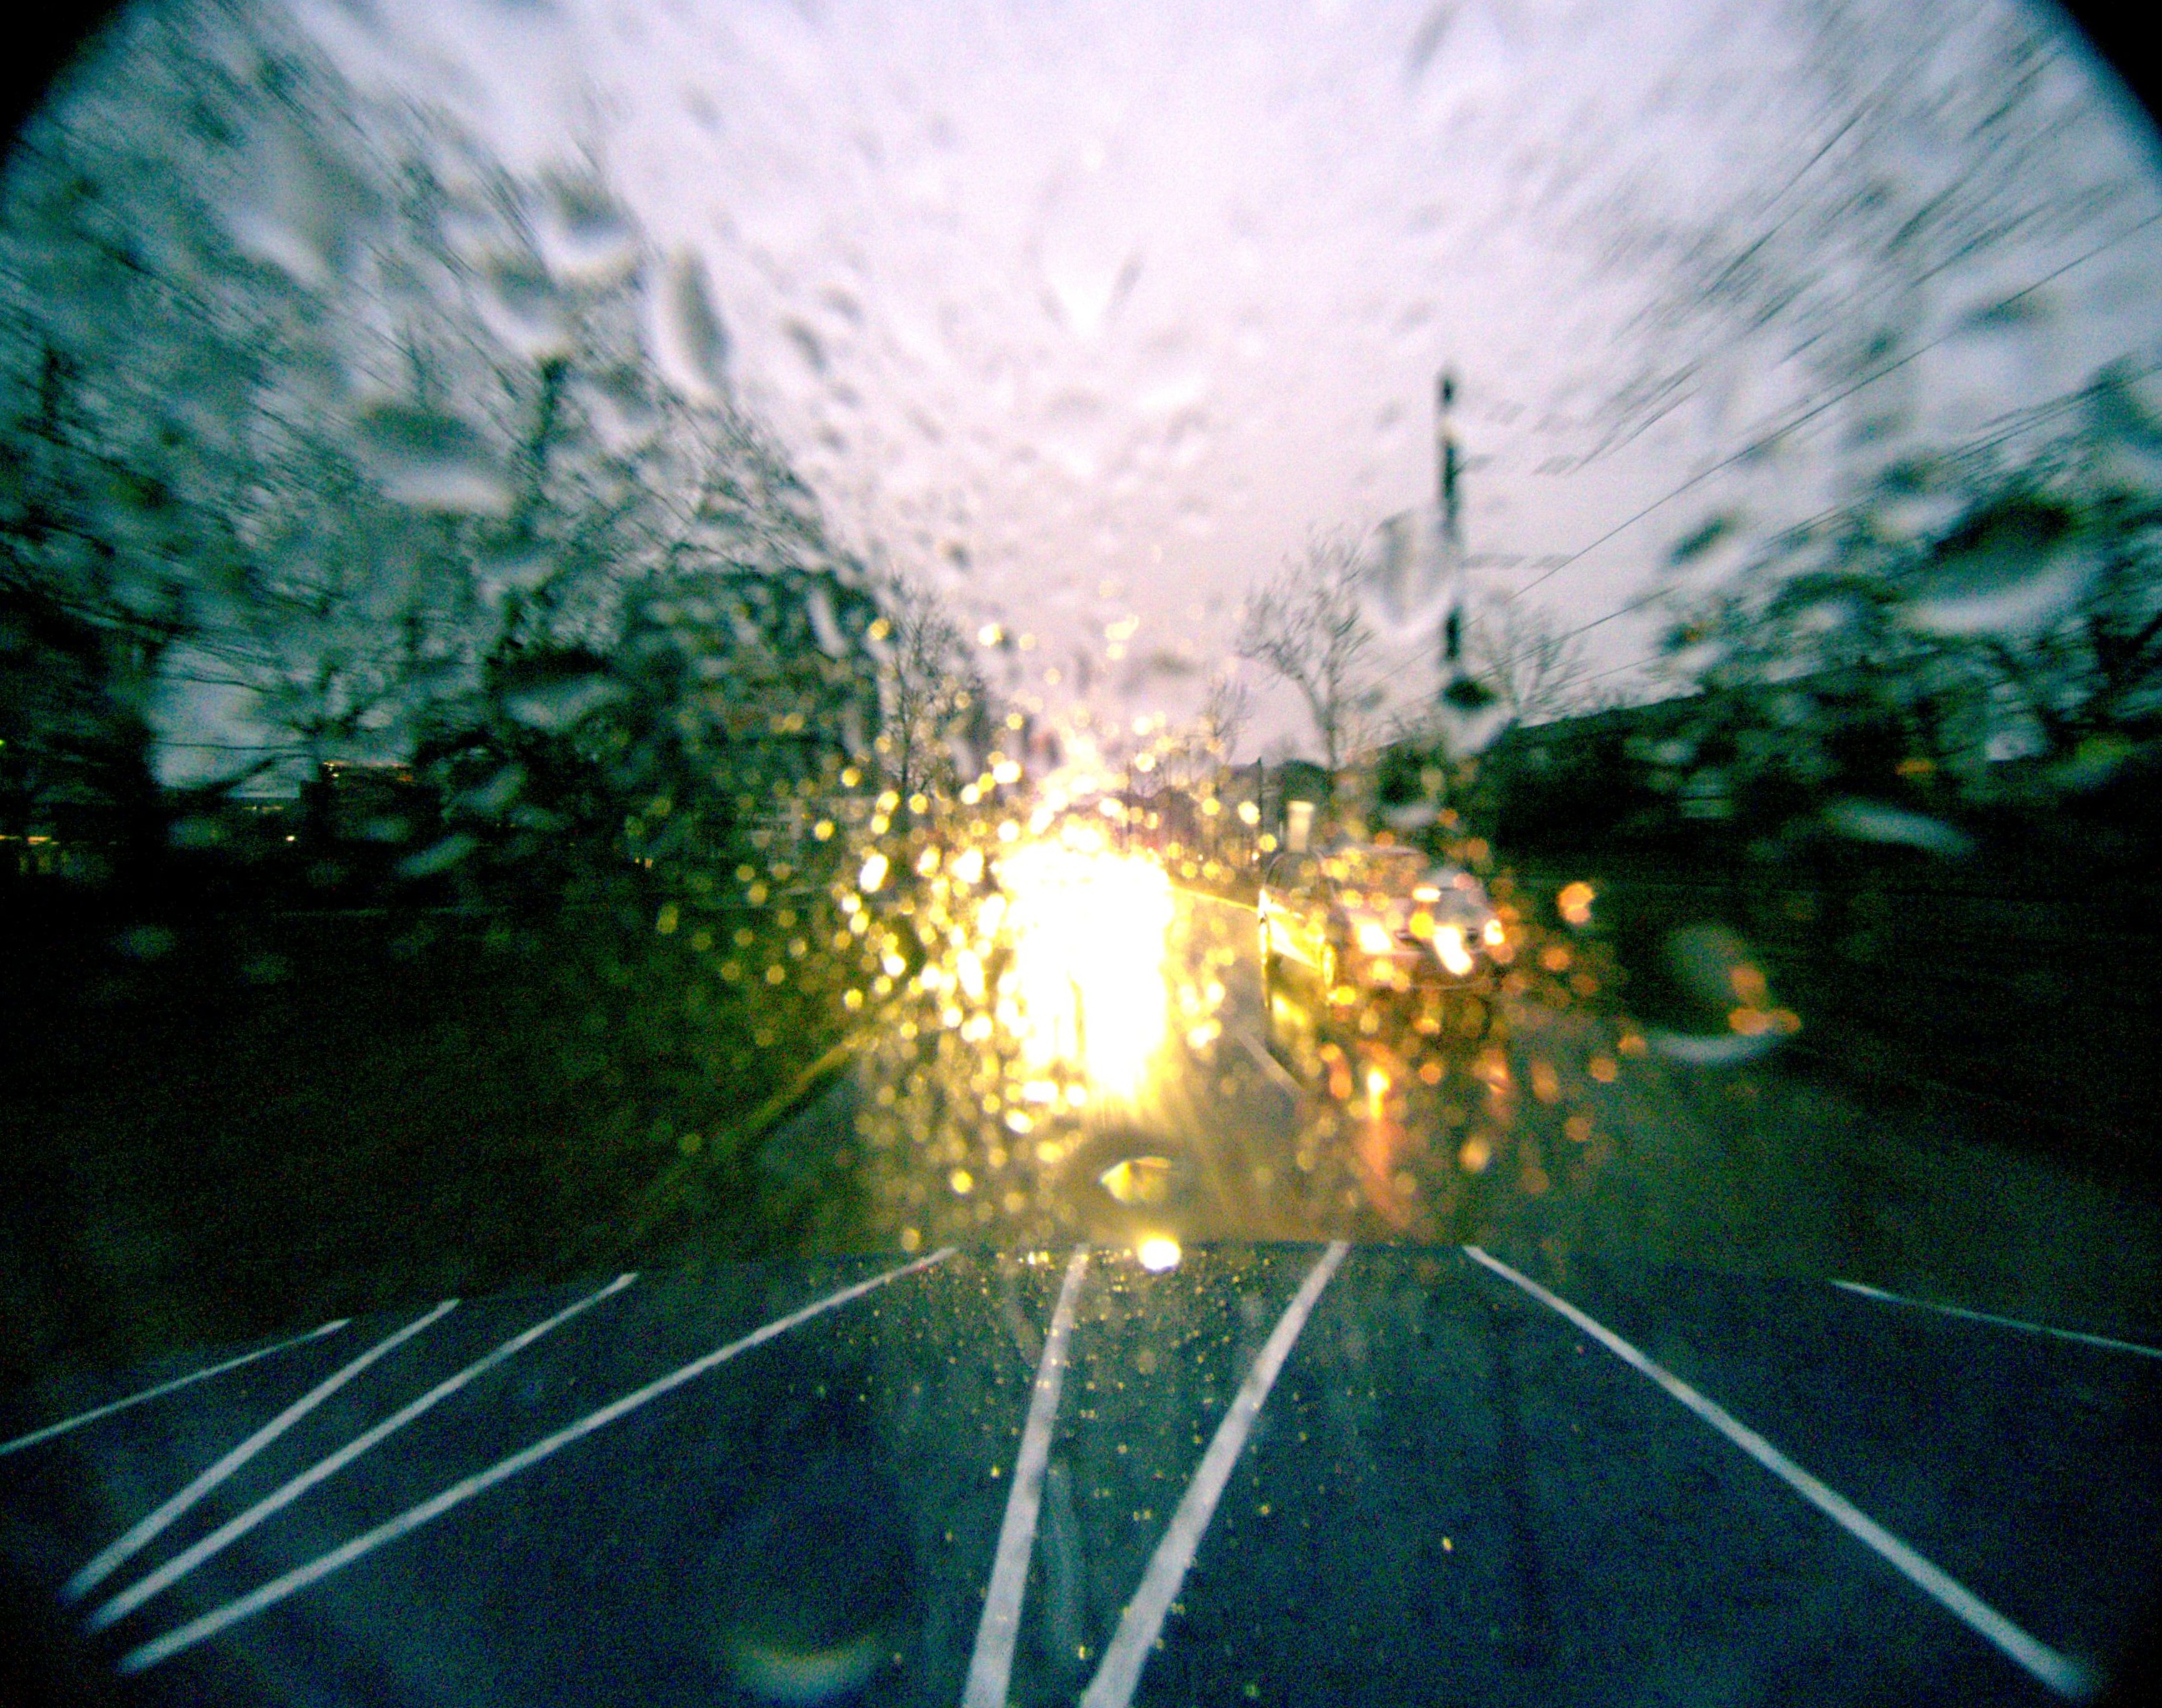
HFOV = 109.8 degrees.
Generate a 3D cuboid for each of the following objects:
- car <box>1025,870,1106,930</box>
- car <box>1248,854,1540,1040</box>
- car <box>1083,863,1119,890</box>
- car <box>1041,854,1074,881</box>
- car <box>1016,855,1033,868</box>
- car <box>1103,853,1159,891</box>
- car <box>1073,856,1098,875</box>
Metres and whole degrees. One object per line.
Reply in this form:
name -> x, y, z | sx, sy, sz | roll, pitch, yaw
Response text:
car -> -0.509, 1.132, 20.152 | 1.897, 1.347, 4.288 | -1, 0, -4
car -> 3.193, 0.824, 8.658 | 1.669, 1.566, 3.922 | -3, 0, 0
car -> 1.249, 1.414, 49.399 | 1.845, 1.546, 4.215 | -3, 0, -4
car -> -1.552, 0.839, 48.938 | 1.950, 1.546, 4.216 | -3, 0, -3
car -> -7.795, 1.021, 104.283 | 1.951, 1.546, 4.214 | -3, 0, -9
car -> 2.208, 0.768, 34.917 | 1.924, 1.546, 4.215 | -3, 0, -5
car -> 0.363, 0.960, 66.242 | 1.950, 1.546, 4.216 | -3, 0, -2
